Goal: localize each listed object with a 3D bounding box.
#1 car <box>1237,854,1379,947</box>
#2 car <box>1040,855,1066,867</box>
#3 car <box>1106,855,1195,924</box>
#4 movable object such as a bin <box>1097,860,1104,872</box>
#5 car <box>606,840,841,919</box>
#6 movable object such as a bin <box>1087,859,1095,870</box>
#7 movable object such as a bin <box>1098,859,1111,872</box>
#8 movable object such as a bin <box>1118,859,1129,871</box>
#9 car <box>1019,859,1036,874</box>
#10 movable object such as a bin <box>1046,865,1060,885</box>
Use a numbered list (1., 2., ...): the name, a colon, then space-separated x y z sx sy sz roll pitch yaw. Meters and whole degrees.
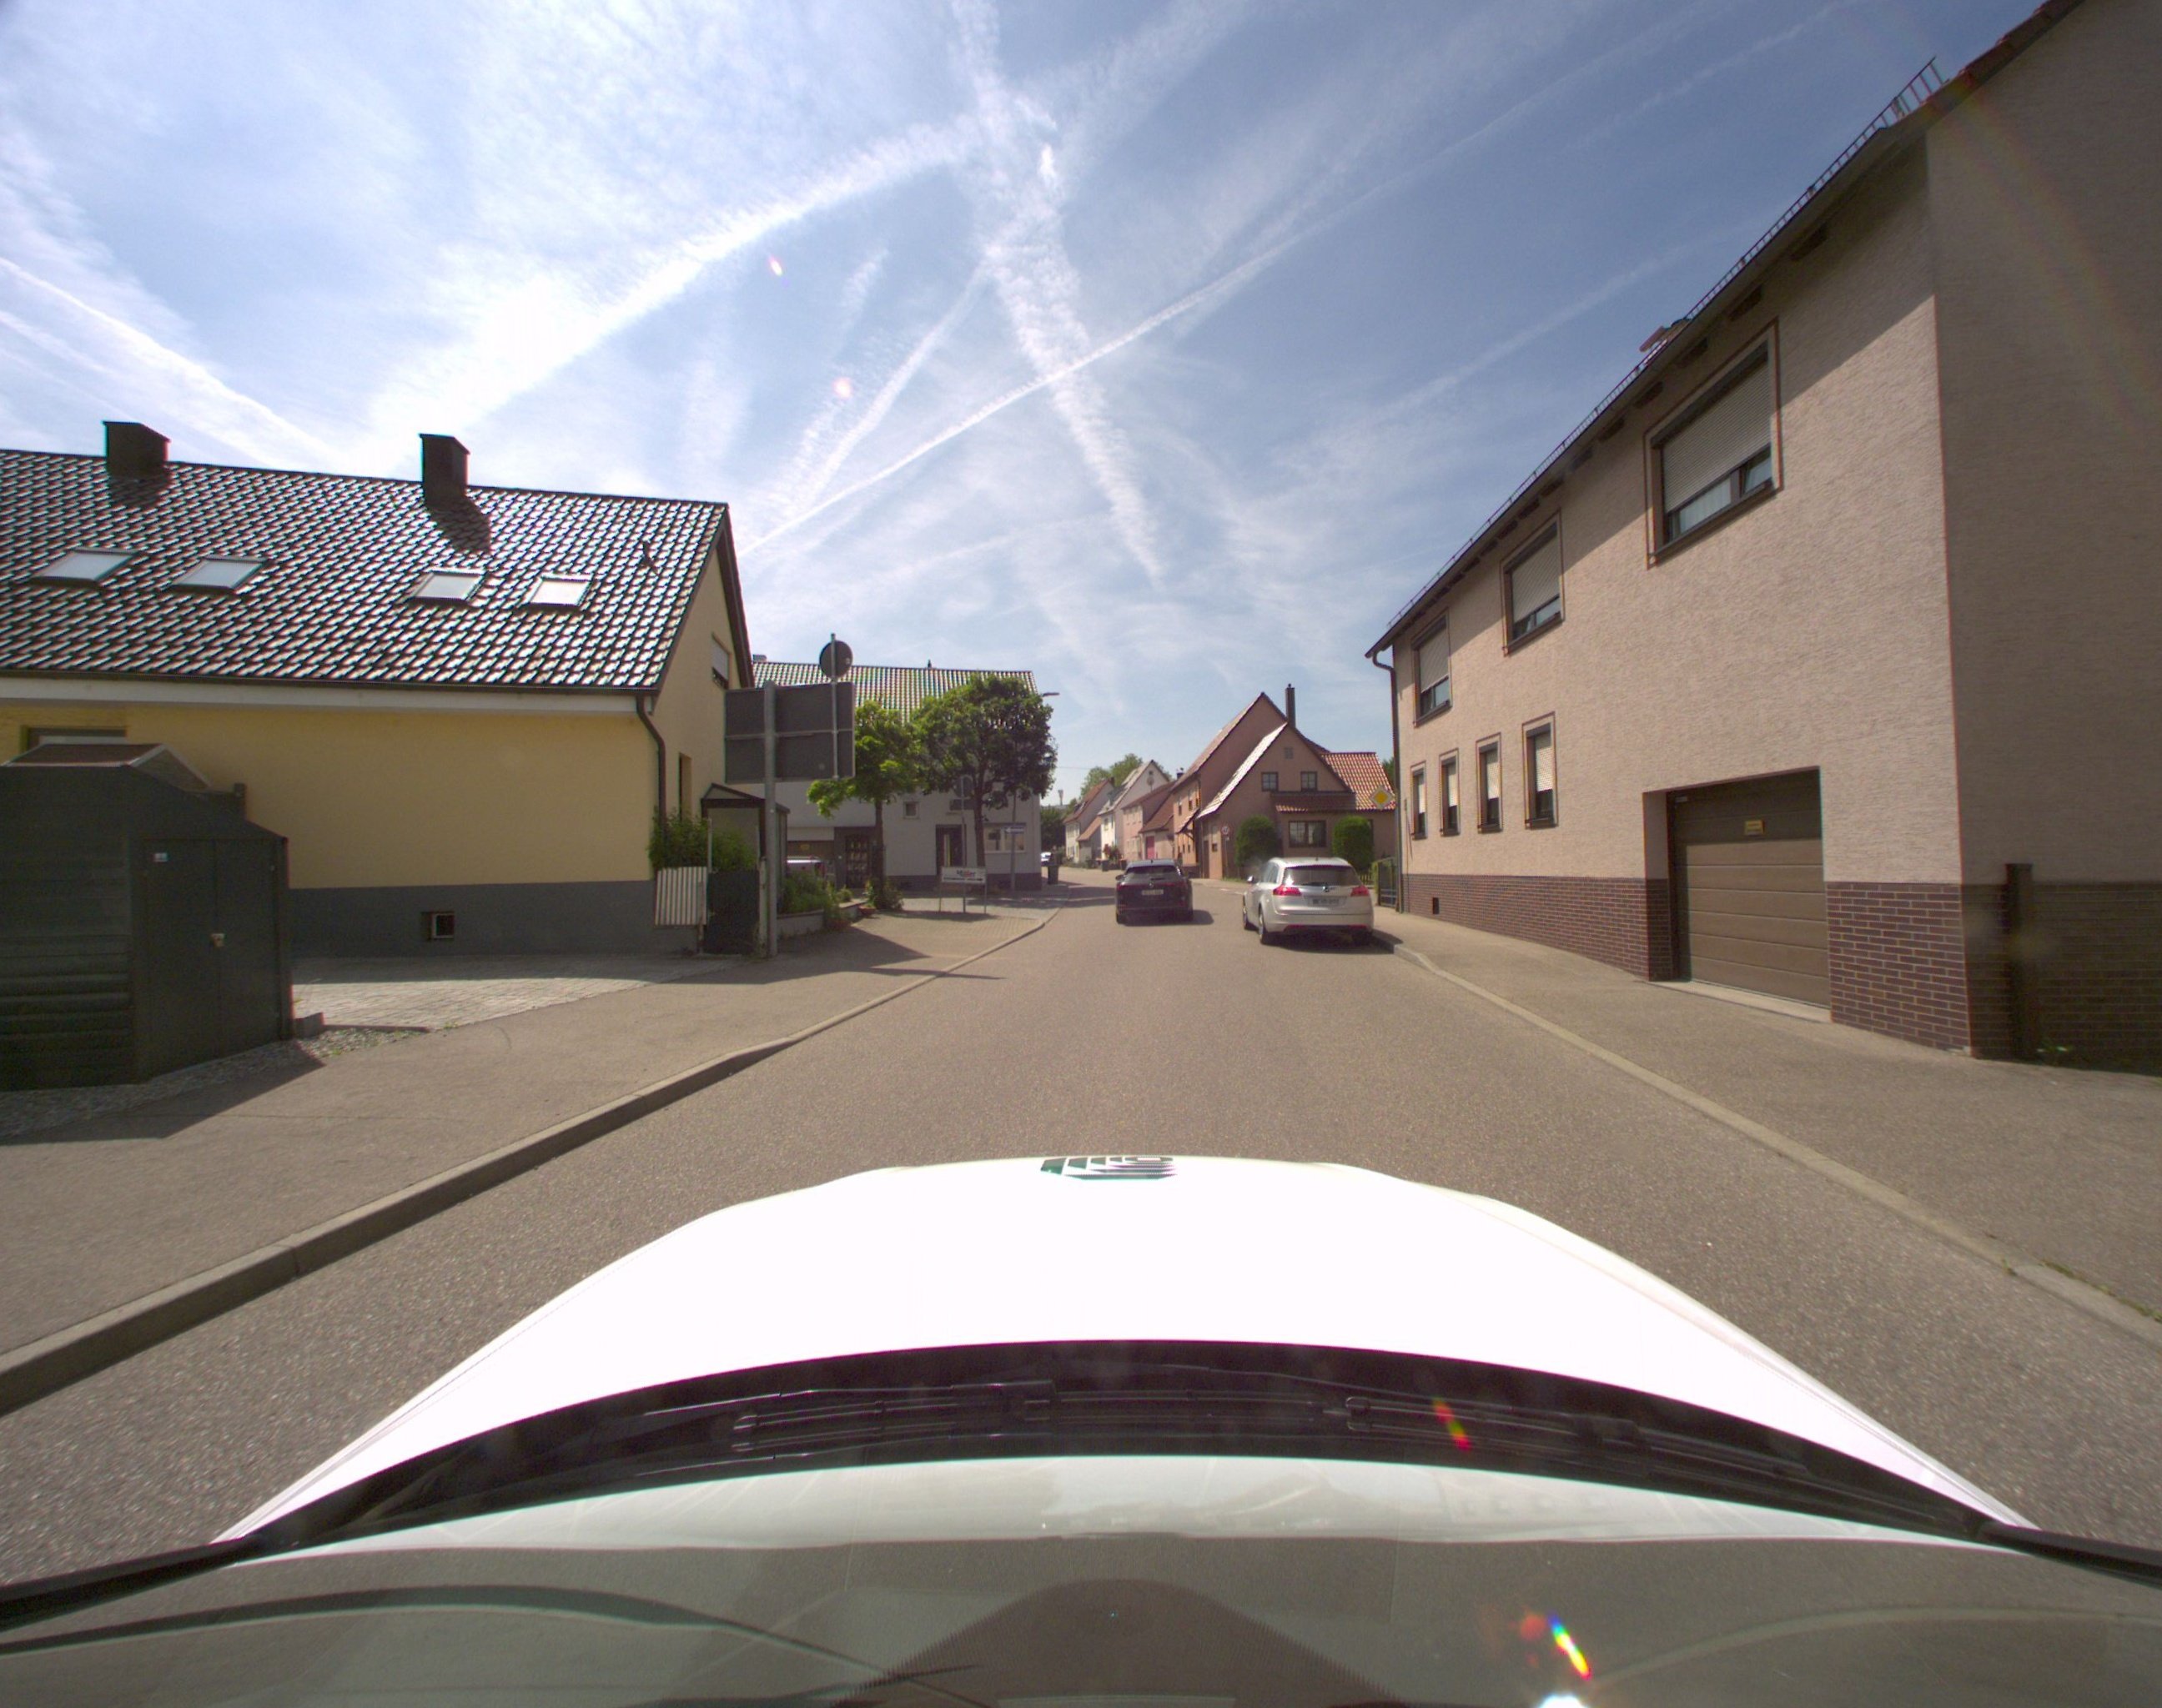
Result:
1. car: 3.988 0.734 15.001 1.777 1.442 4.343 1 0 5
2. car: -4.834 1.227 140.325 4.003 2.014 1.985 0 0 -22
3. car: 1.833 0.778 20.034 1.831 1.420 4.693 -3 0 8
4. movable object such as a bin: 2.029 1.250 83.882 0.665 1.194 0.586 0 -1 -10
5. car: -9.035 0.618 21.044 5.098 1.896 2.171 0 0 -6
6. movable object such as a bin: 1.005 1.105 84.738 0.679 1.155 0.816 1 -1 -14
7. movable object such as a bin: 2.191 1.057 75.560 0.877 1.074 0.868 -4 0 -14
8. movable object such as a bin: 3.890 0.991 74.546 0.679 1.050 0.831 -4 0 -14
9. car: -5.996 1.411 91.476 1.797 1.555 4.063 -1 0 -5
10. movable object such as a bin: -1.456 1.092 42.479 0.752 1.060 0.679 0 0 -4
